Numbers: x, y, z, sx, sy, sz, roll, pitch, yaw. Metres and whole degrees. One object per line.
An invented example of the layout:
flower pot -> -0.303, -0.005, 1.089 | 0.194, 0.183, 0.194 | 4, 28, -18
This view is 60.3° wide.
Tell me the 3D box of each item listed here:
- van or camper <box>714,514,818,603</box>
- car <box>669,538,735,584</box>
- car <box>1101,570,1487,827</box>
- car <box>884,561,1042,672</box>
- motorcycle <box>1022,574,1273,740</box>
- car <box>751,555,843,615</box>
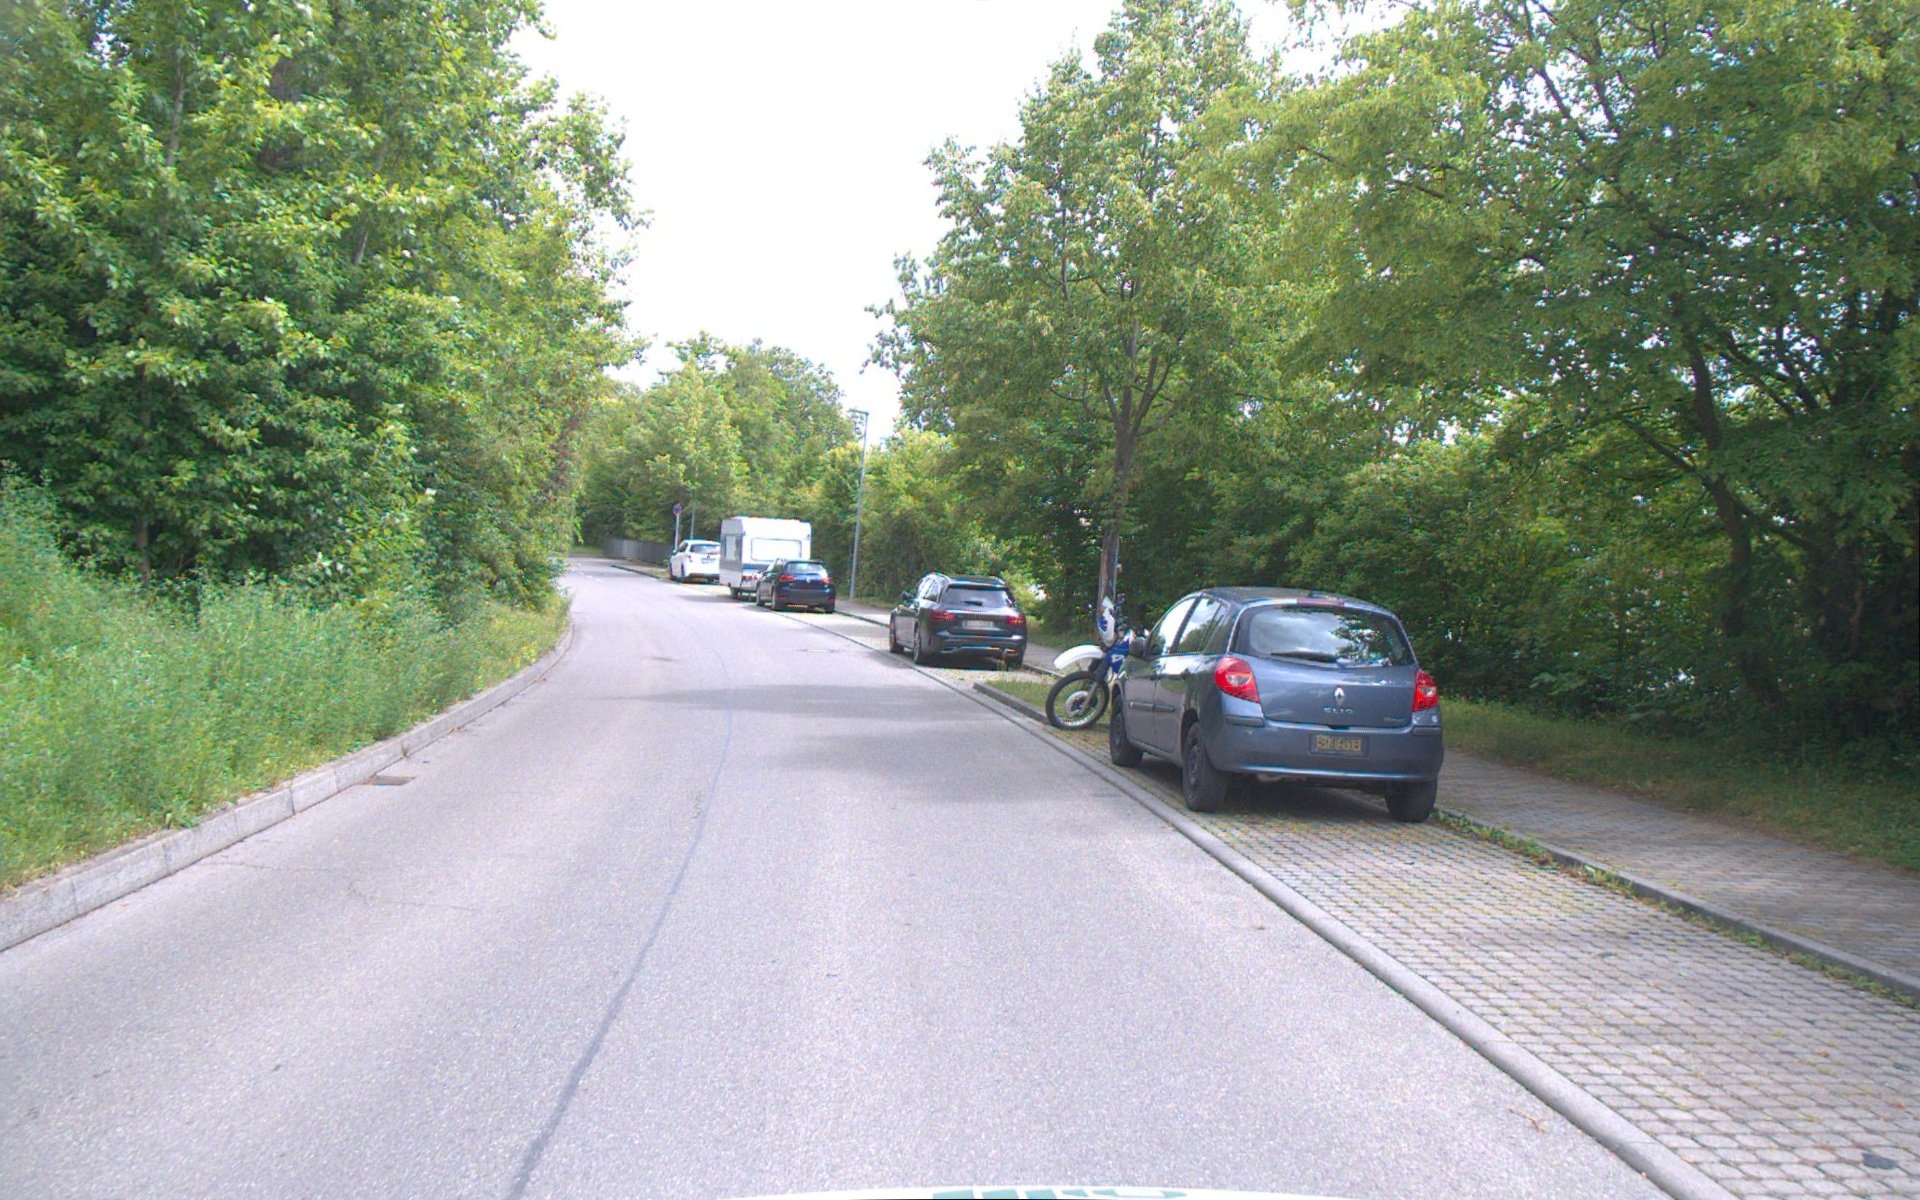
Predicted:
van or camper -> -6.214, -1.356, 52.496 | 2.318, 2.598, 5.051 | 2, 2, -18
car -> -10.103, -1.545, 64.577 | 1.778, 1.627, 4.349 | 2, 2, -19
car -> 2.281, 0.614, 12.425 | 1.735, 1.544, 4.103 | 2, 0, -5
car -> -0.047, 0.213, 28.046 | 1.858, 1.556, 4.537 | 3, 2, -10
motorcycle -> 1.840, 0.521, 16.149 | 2.257, 1.501, 0.975 | 1, 0, 19
car -> -4.681, -0.472, 46.886 | 1.655, 1.476, 4.459 | 3, 1, -17
